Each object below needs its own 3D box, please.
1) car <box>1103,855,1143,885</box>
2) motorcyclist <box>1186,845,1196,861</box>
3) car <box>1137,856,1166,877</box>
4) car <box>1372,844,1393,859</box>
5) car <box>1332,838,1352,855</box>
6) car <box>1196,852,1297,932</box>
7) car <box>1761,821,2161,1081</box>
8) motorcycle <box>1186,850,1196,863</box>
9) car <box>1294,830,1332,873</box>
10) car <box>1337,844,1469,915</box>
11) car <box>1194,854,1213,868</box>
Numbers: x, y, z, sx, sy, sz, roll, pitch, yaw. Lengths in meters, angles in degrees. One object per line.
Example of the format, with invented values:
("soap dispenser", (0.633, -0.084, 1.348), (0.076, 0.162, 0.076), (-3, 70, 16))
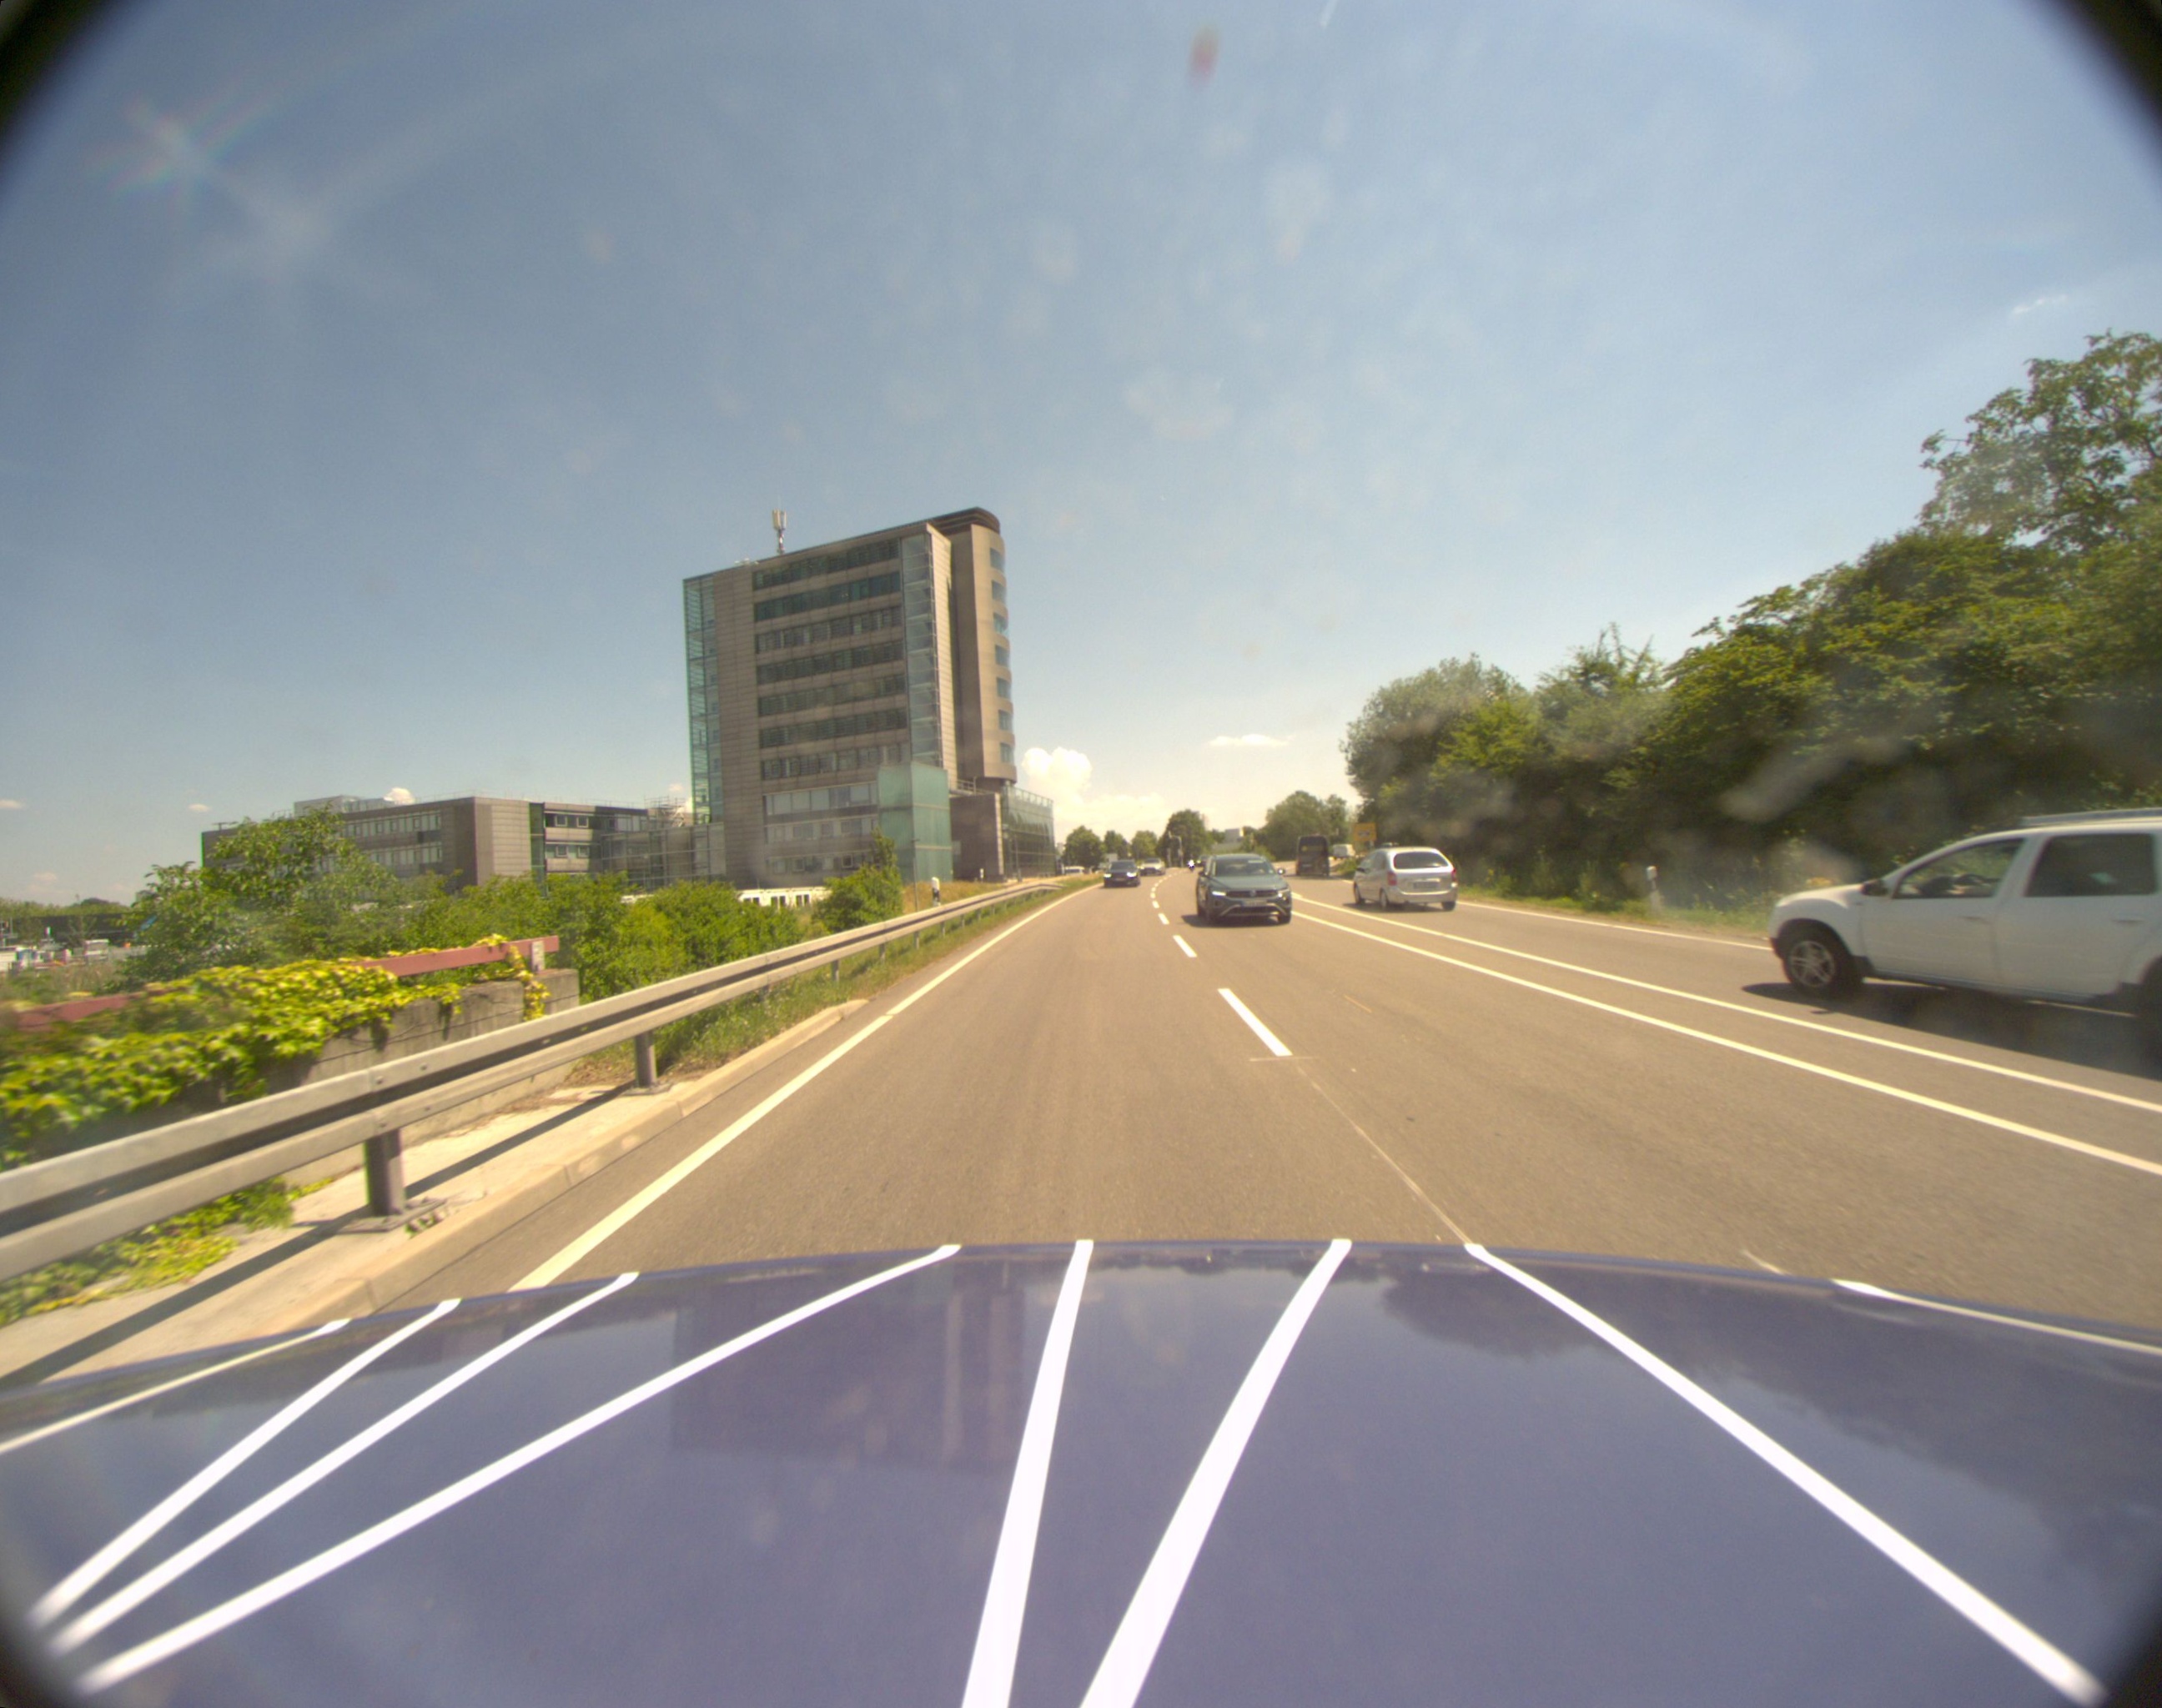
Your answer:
("car", (2.377, 0.841, 41.968), (1.778, 1.497, 4.564), (-2, -1, 8))
("motorcyclist", (10.052, -0.106, 69.360), (0.860, 1.479, 1.162), (-1, 0, 4))
("car", (5.926, 1.043, 63.105), (1.932, 1.576, 4.183), (-5, -2, 10))
("car", (46.273, -0.396, 116.768), (1.977, 2.001, 4.845), (-5, -2, 10))
("car", (34.456, -0.978, 100.175), (2.078, 2.002, 5.816), (-3, 0, 23))
("car", (3.754, 0.784, 17.897), (1.838, 1.577, 4.393), (-2, 0, 6))
("car", (7.752, 0.577, 5.484), (1.998, 1.619, 4.197), (-2, 0, 2))
("motorcycle", (10.072, 0.238, 69.446), (0.734, 1.131, 2.073), (-1, 0, 5))
("car", (15.357, -0.193, 50.341), (2.191, 2.526, 6.044), (-3, 0, 17))
("car", (8.410, 0.602, 20.345), (1.841, 1.583, 4.819), (-3, 0, 6))
("car", (15.120, 0.871, 93.638), (2.116, 1.582, 4.453), (-2, 0, 10))
